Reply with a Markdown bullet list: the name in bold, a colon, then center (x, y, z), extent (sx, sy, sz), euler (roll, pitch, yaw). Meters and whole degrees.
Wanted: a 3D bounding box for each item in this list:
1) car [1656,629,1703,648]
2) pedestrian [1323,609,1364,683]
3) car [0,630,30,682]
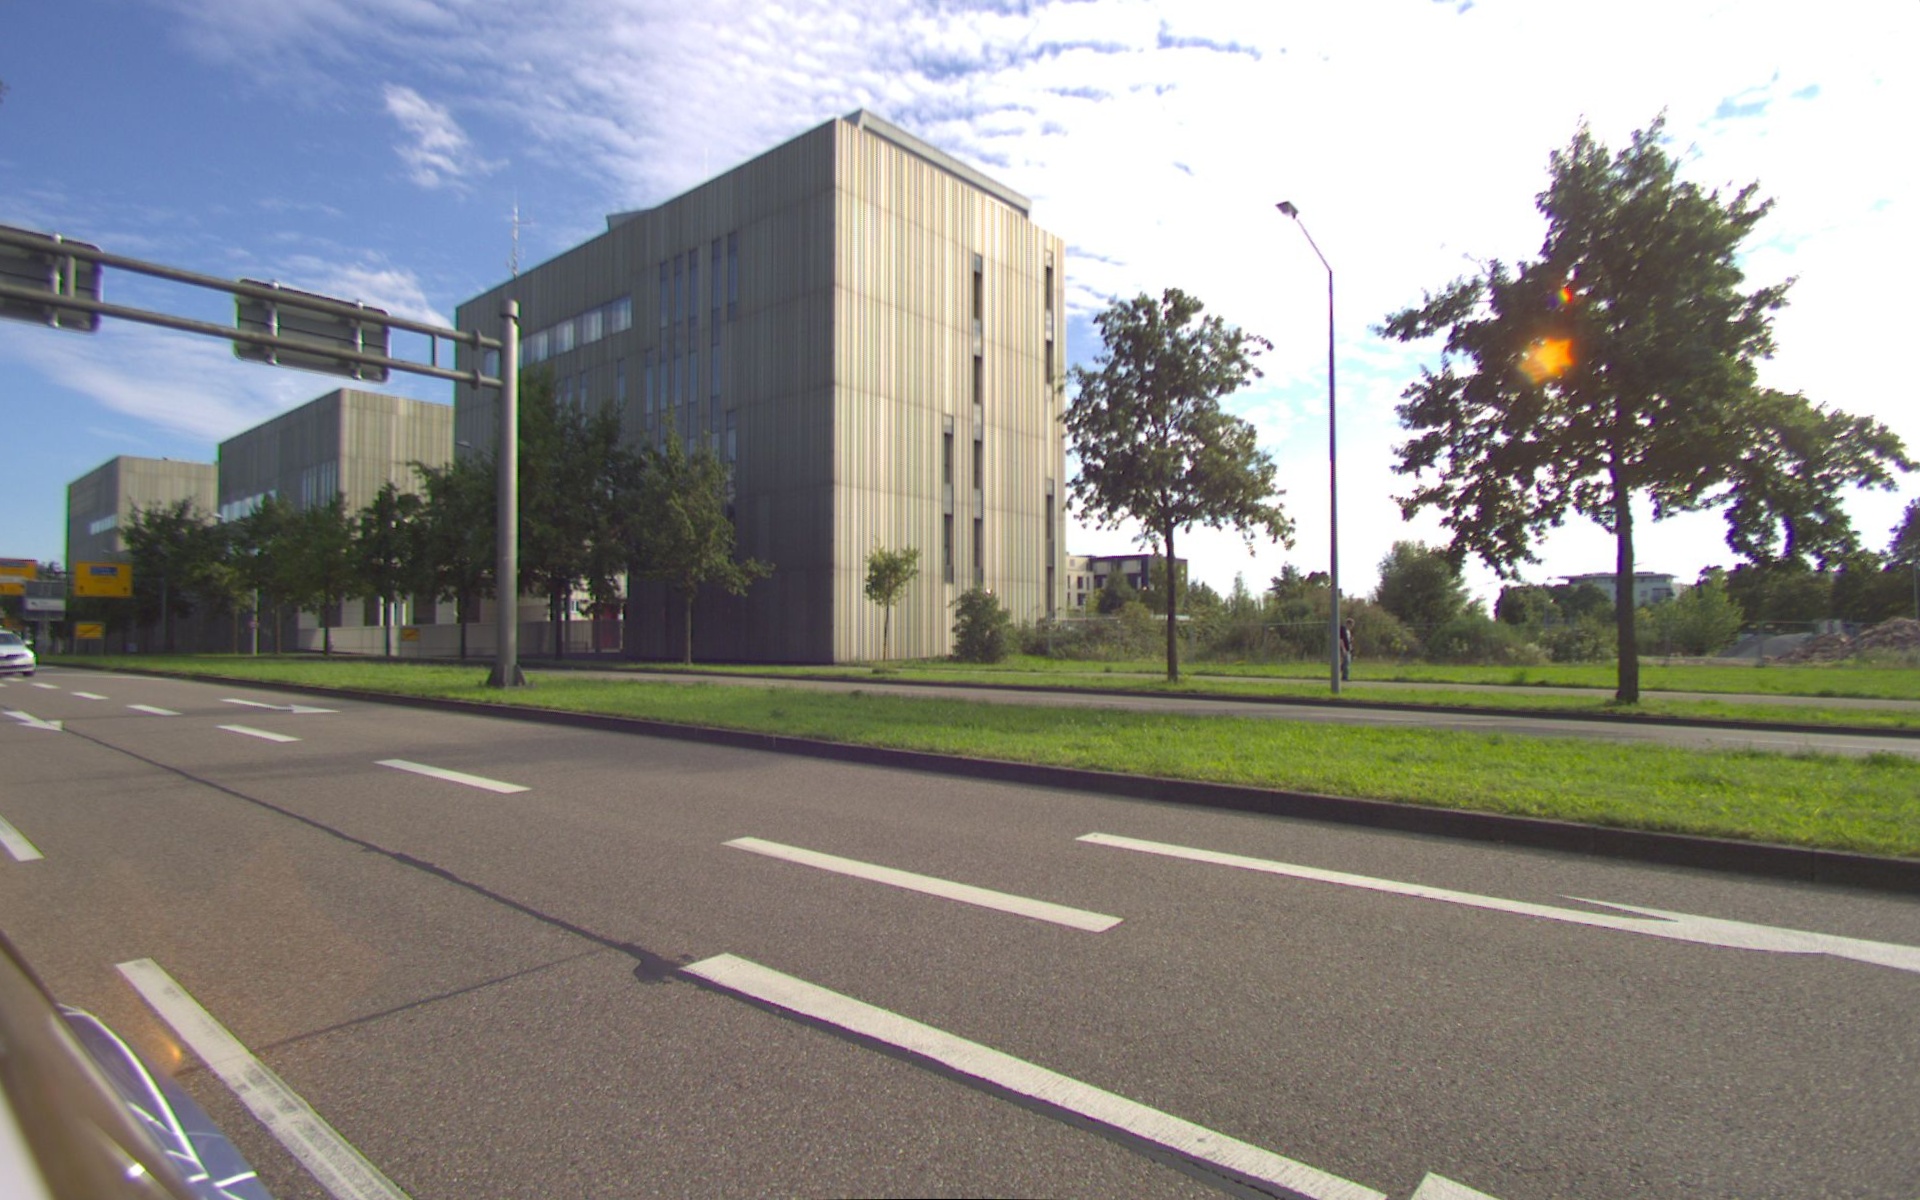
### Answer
- **car**: center (75.325, 4.040, 106.013), extent (1.972, 2.029, 3.998), euler (0, -2, 1)
- **pedestrian**: center (10.613, 1.275, 28.037), extent (0.866, 2.029, 0.667), euler (-2, -3, 40)
- **car**: center (-30.079, 1.702, 30.959), extent (4.474, 1.510, 1.682), euler (-2, -2, 38)
